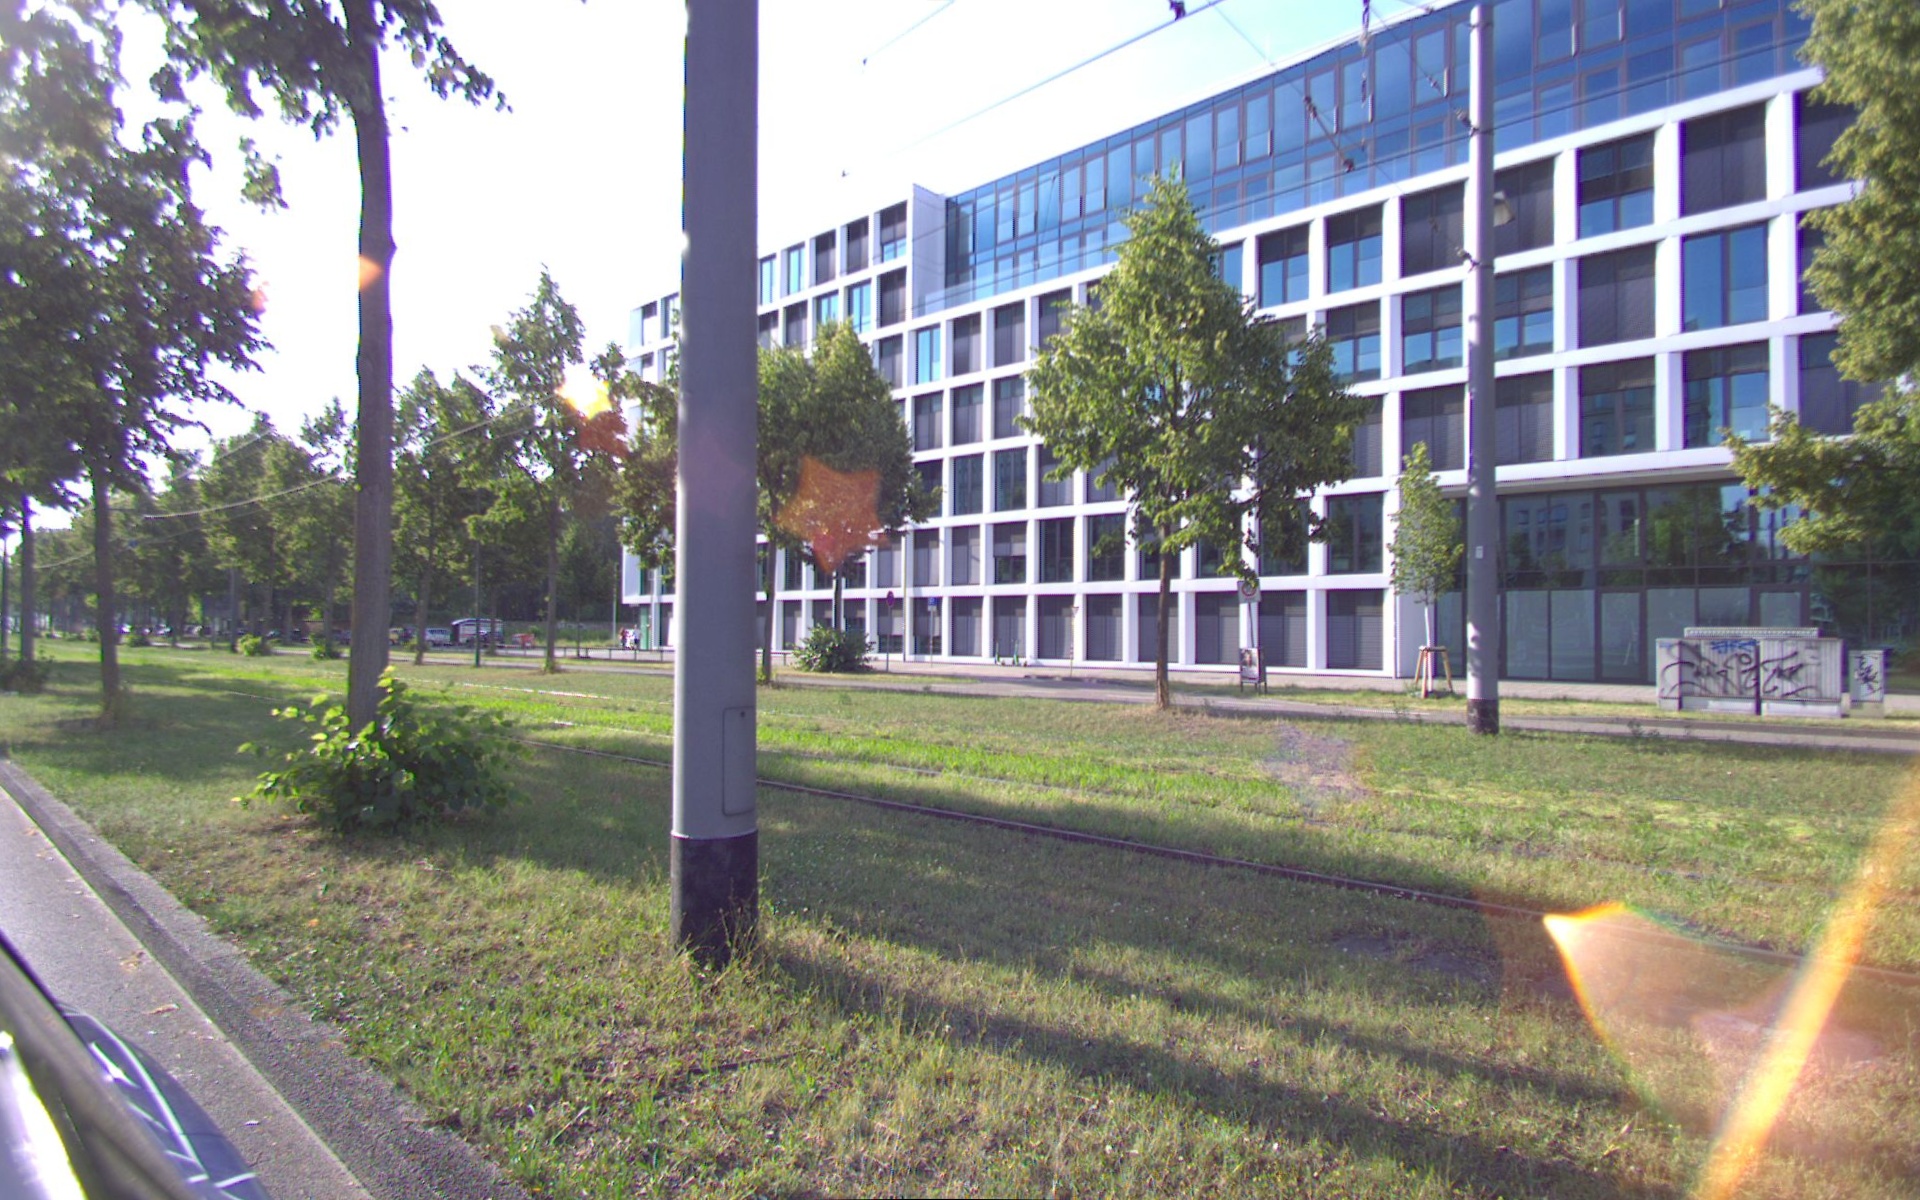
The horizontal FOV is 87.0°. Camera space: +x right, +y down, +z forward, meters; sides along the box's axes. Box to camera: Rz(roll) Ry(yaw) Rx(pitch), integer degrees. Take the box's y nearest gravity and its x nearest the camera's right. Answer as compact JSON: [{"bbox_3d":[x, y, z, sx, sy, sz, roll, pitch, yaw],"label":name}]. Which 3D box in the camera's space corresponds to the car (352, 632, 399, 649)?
[{"bbox_3d":[-57.123,3.957,98.974,1.810,1.439,3.606,-1,0,44],"label":"car"}]

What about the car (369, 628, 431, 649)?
[{"bbox_3d":[-54.248,3.700,98.088,1.886,1.748,5.003,-1,0,44],"label":"car"}]

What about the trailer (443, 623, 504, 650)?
[{"bbox_3d":[-40.867,3.012,85.040,4.314,2.069,1.759,-1,0,-45],"label":"trailer"}]

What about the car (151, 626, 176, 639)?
[{"bbox_3d":[-97.299,3.993,123.616,4.475,1.442,1.810,-1,0,43],"label":"car"}]

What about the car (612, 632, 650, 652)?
[{"bbox_3d":[-27.960,3.548,86.002,1.824,1.608,4.009,-1,0,-37],"label":"car"}]

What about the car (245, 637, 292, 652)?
[{"bbox_3d":[-69.868,4.487,102.293,3.994,1.446,1.681,-1,0,12],"label":"car"}]

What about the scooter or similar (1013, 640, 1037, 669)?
[{"bbox_3d":[2.891,2.430,45.364,0.331,1.235,1.302,-1,0,-34],"label":"scooter or similar"}]

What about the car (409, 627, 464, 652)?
[{"bbox_3d":[-45.723,3.437,88.438,1.758,1.962,3.949,-1,0,42],"label":"car"}]

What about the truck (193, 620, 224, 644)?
[{"bbox_3d":[-113.821,4.805,153.283,2.854,3.542,7.952,-1,0,-43],"label":"truck"}]

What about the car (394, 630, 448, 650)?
[{"bbox_3d":[-48.101,3.534,90.336,1.758,1.655,3.949,-1,0,42],"label":"car"}]

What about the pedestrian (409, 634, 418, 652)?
[{"bbox_3d":[-47.117,3.688,87.199,0.568,1.491,0.516,-1,0,41],"label":"pedestrian"}]

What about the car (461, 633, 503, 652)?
[{"bbox_3d":[-38.616,3.440,81.742,3.758,1.404,1.663,-1,0,39],"label":"car"}]

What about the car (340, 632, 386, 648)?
[{"bbox_3d":[-61.695,4.091,104.637,3.810,1.497,1.746,-1,0,-40],"label":"car"}]

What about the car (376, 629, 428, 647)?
[{"bbox_3d":[-52.940,3.587,95.980,1.857,1.572,3.942,-1,0,44],"label":"car"}]

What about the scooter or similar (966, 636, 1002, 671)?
[{"bbox_3d":[1.089,2.414,46.085,1.906,1.488,0.415,-1,0,-44],"label":"scooter or similar"}]
